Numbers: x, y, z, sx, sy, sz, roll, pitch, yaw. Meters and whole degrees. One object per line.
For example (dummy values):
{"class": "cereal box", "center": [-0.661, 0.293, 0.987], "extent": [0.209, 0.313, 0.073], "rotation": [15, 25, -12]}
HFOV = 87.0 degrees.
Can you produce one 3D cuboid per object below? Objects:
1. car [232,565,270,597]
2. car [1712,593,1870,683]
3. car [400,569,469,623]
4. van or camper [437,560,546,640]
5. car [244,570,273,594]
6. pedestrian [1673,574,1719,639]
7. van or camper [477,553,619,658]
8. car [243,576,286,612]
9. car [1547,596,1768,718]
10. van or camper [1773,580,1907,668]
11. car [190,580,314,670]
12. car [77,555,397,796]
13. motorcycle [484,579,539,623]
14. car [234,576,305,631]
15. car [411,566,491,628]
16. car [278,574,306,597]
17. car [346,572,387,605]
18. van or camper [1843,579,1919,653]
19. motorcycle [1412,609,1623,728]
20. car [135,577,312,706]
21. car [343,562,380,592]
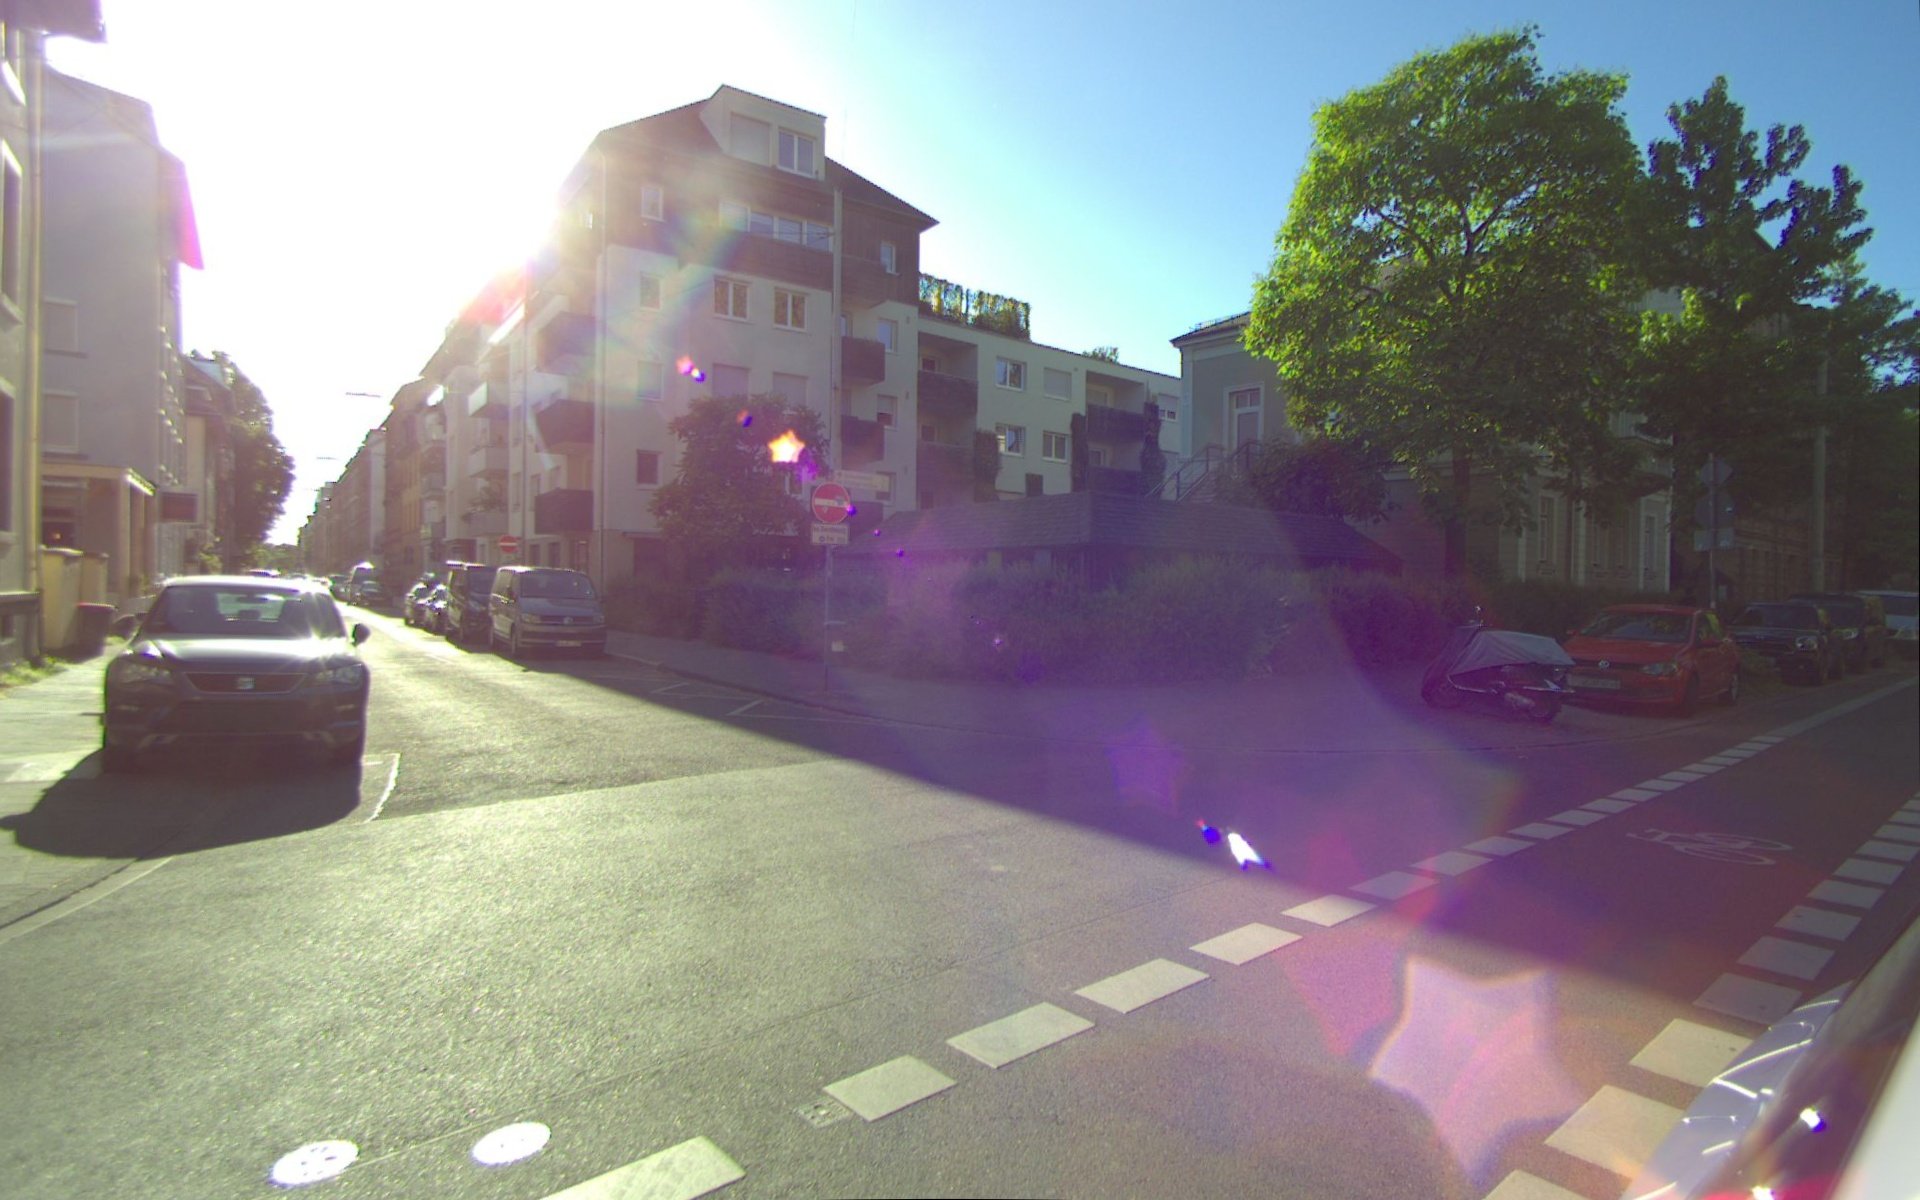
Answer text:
{"class": "car", "center": [-47.027, -1.257, 67.124], "extent": [1.926, 1.952, 4.198], "rotation": [3, -1, -36]}
{"class": "car", "center": [16.366, 0.658, 19.870], "extent": [4.070, 1.505, 1.694], "rotation": [0, 3, -41]}
{"class": "car", "center": [-19.298, -0.143, 37.103], "extent": [1.728, 1.881, 3.651], "rotation": [1, 0, -36]}
{"class": "van or camper", "center": [-12.982, -0.019, 27.890], "extent": [1.894, 2.007, 4.596], "rotation": [1, 0, -36]}
{"class": "car", "center": [-60.387, -1.516, 87.109], "extent": [1.926, 1.952, 4.198], "rotation": [3, -1, -36]}
{"class": "pedestrian", "center": [19.620, 0.165, 26.969], "extent": [0.869, 1.699, 0.813], "rotation": [0, 0, -41]}
{"class": "van or camper", "center": [-9.337, 0.086, 22.698], "extent": [1.894, 2.090, 4.596], "rotation": [1, 0, -36]}
{"class": "car", "center": [-37.135, -0.330, 54.005], "extent": [1.759, 1.777, 4.198], "rotation": [3, -1, -36]}
{"class": "car", "center": [9.869, 0.690, 14.223], "extent": [3.797, 1.397, 1.607], "rotation": [0, 3, -41]}
{"class": "van or camper", "center": [20.624, 0.497, 23.661], "extent": [4.365, 1.804, 1.694], "rotation": [0, 3, -41]}
{"class": "car", "center": [-13.319, 0.415, 19.038], "extent": [1.674, 1.494, 4.198], "rotation": [3, -1, -36]}
{"class": "car", "center": [-6.589, 0.526, 9.348], "extent": [1.866, 1.660, 4.462], "rotation": [3, -1, -36]}
{"class": "motorcycle", "center": [-15.172, -0.001, 34.202], "extent": [1.077, 1.426, 3.142], "rotation": [0, 1, -36]}
{"class": "car", "center": [-21.801, 0.086, 31.903], "extent": [1.674, 1.593, 4.198], "rotation": [3, -1, -36]}
{"class": "car", "center": [-16.514, -0.103, 32.742], "extent": [1.728, 1.881, 3.651], "rotation": [1, 0, -36]}
{"class": "car", "center": [-62.463, -1.352, 94.604], "extent": [1.926, 1.952, 4.198], "rotation": [3, -1, -36]}
{"class": "car", "center": [-35.039, -0.700, 59.677], "extent": [1.728, 1.881, 3.651], "rotation": [1, 0, -36]}
{"class": "van or camper", "center": [27.365, 0.421, 29.381], "extent": [4.837, 1.906, 1.882], "rotation": [0, 3, -41]}
{"class": "motorcycle", "center": [6.778, 0.782, 12.422], "extent": [0.812, 1.172, 2.074], "rotation": [0, 4, -36]}
{"class": "car", "center": [-10.323, 0.483, 14.280], "extent": [1.674, 1.515, 4.822], "rotation": [3, -1, -36]}
{"class": "car", "center": [-38.428, -1.452, 64.939], "extent": [1.728, 1.881, 3.651], "rotation": [1, 0, -36]}
